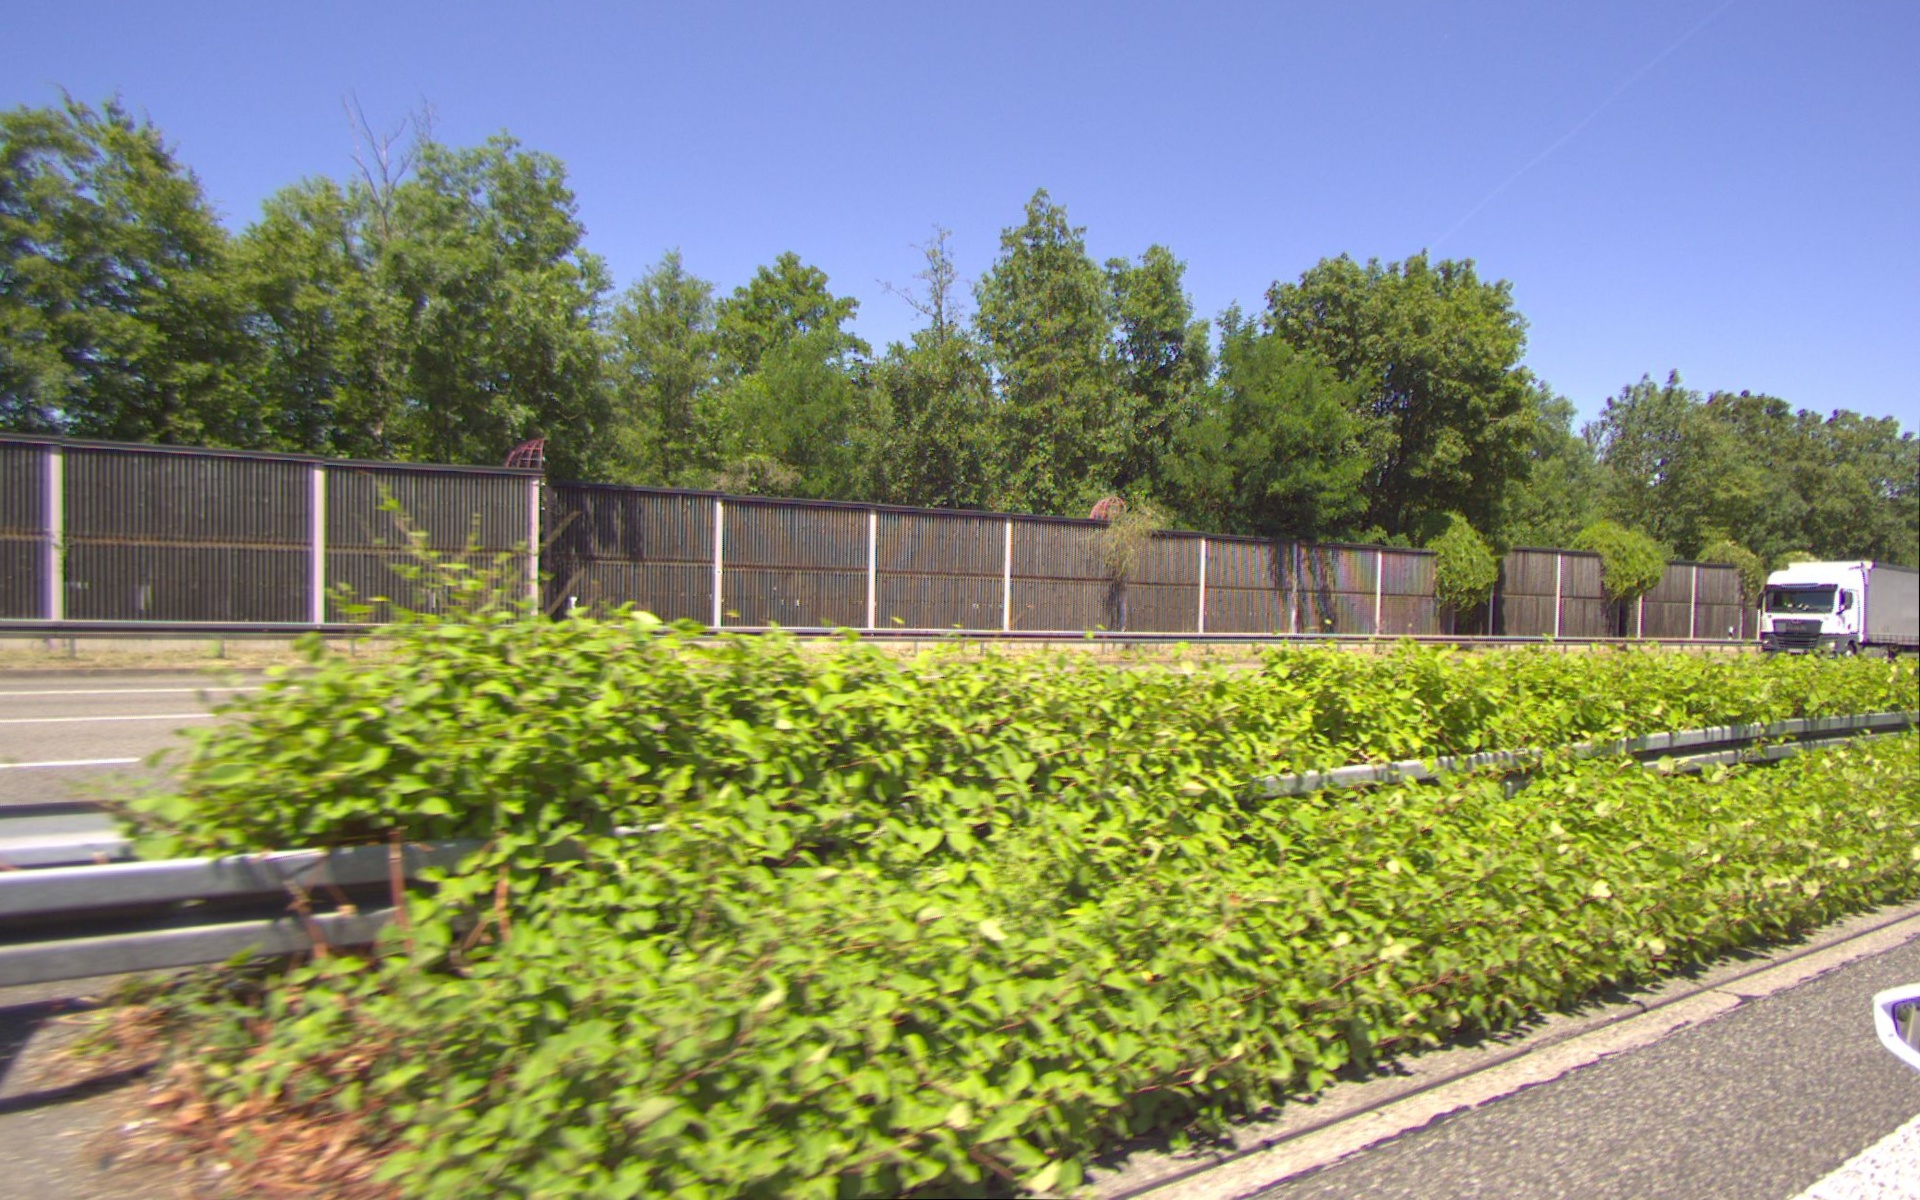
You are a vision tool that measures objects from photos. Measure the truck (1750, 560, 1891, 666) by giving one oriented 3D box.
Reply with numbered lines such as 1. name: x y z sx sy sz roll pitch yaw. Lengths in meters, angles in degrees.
1. truck: 34.164 0.519 39.855 5.511 3.947 2.672 1 0 -32

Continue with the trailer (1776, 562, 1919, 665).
1. trailer: 39.771 0.648 43.301 13.605 3.962 2.715 2 0 -31
